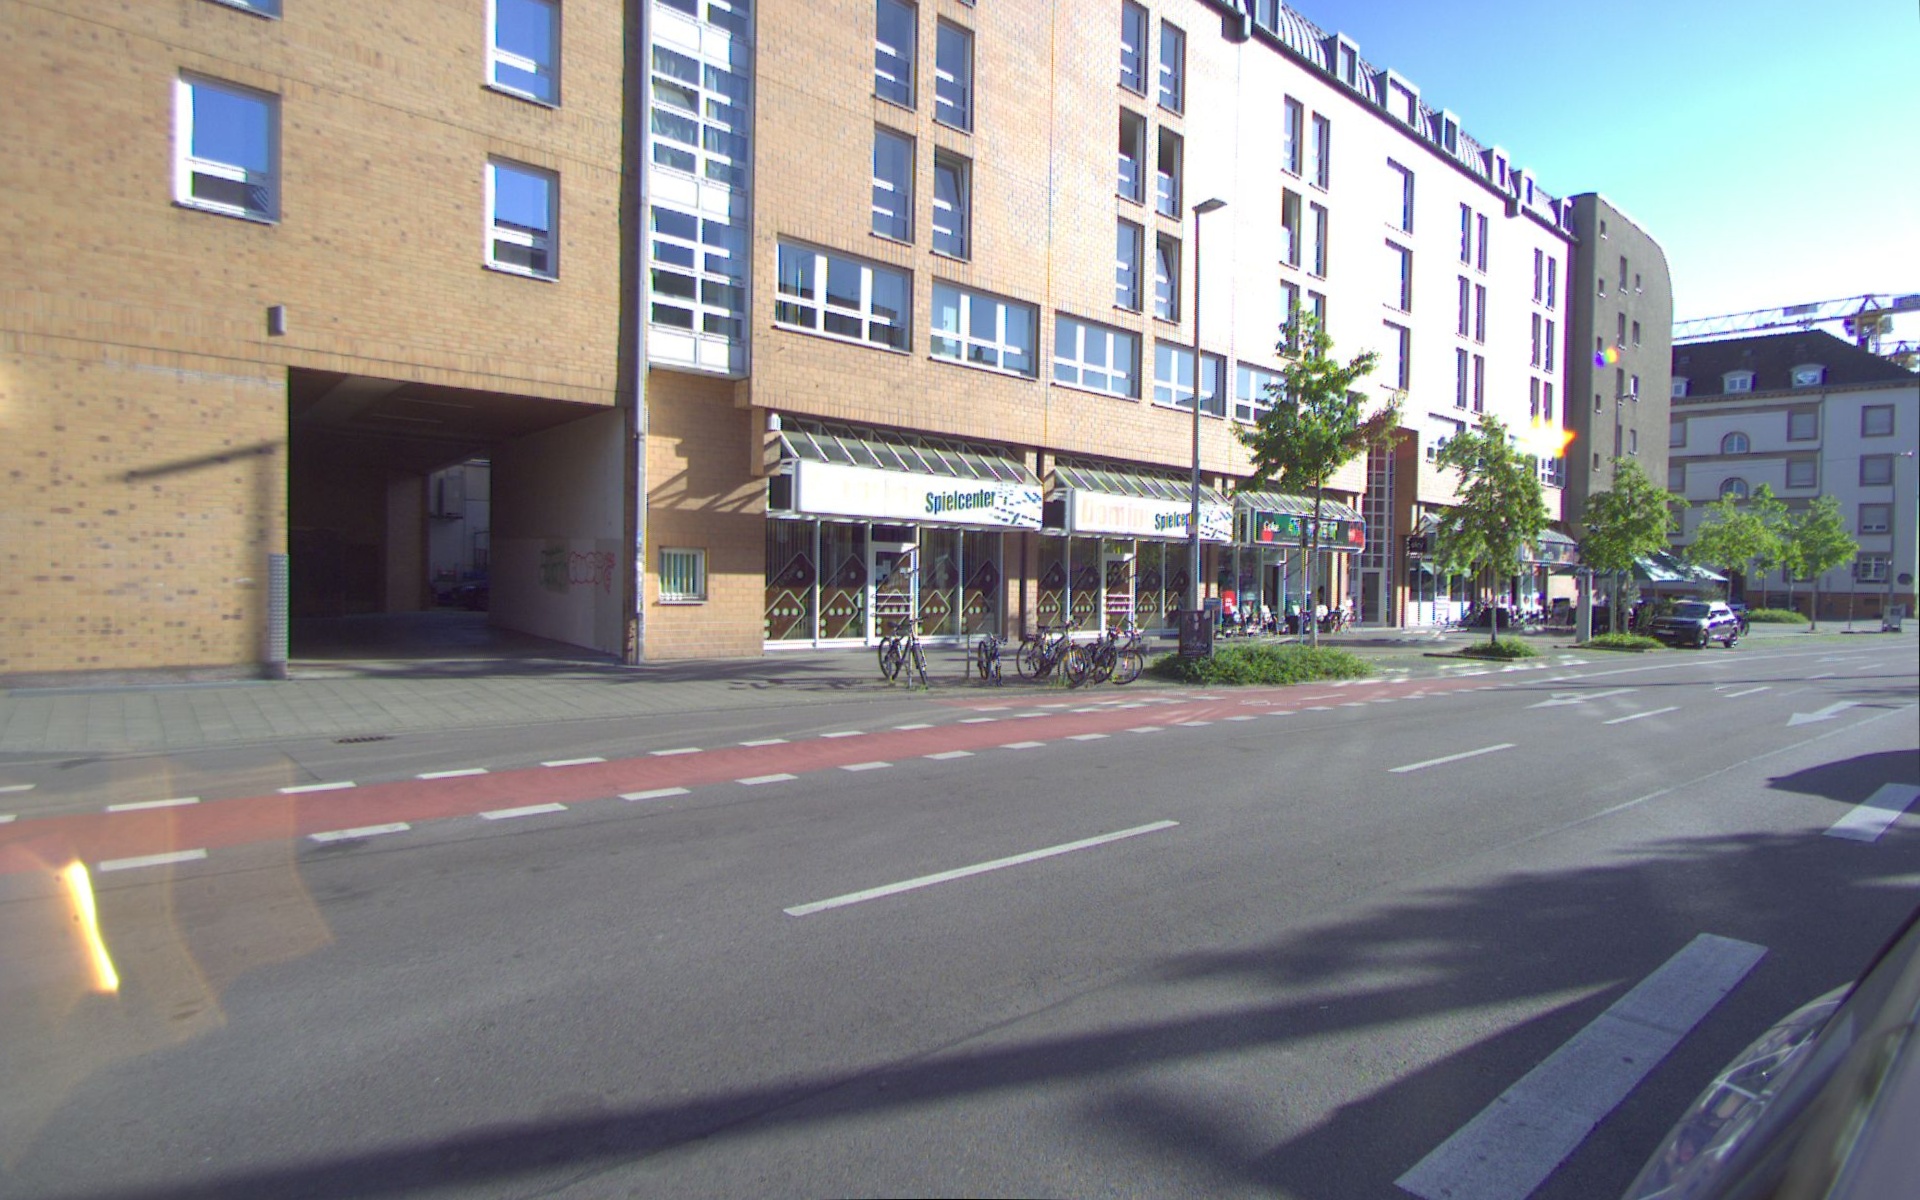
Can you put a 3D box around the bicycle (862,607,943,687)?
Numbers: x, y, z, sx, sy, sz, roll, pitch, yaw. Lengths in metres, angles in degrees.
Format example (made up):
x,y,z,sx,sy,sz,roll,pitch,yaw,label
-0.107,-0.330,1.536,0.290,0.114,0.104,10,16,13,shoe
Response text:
x,y,z,sx,sy,sz,roll,pitch,yaw,label
-0.949,0.721,16.214,0.423,1.089,1.776,-1,4,-35,bicycle

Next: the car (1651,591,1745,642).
x,y,z,sx,sy,sz,roll,pitch,yaw,label
25.791,0.542,35.343,3.929,1.660,1.778,0,1,-41,car

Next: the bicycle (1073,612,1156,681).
x,y,z,sx,sy,sz,roll,pitch,yaw,label
2.670,0.778,17.659,0.440,0.997,1.843,0,3,-26,bicycle

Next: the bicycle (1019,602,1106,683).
x,y,z,sx,sy,sz,roll,pitch,yaw,label
1.712,0.683,17.174,0.553,1.177,1.843,0,3,-26,bicycle

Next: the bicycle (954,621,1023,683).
x,y,z,sx,sy,sz,roll,pitch,yaw,label
0.450,0.845,16.967,0.359,0.842,1.779,0,3,-26,bicycle

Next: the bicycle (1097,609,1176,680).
x,y,z,sx,sy,sz,roll,pitch,yaw,label
3.088,0.758,17.875,0.343,1.069,1.843,0,3,-26,bicycle
